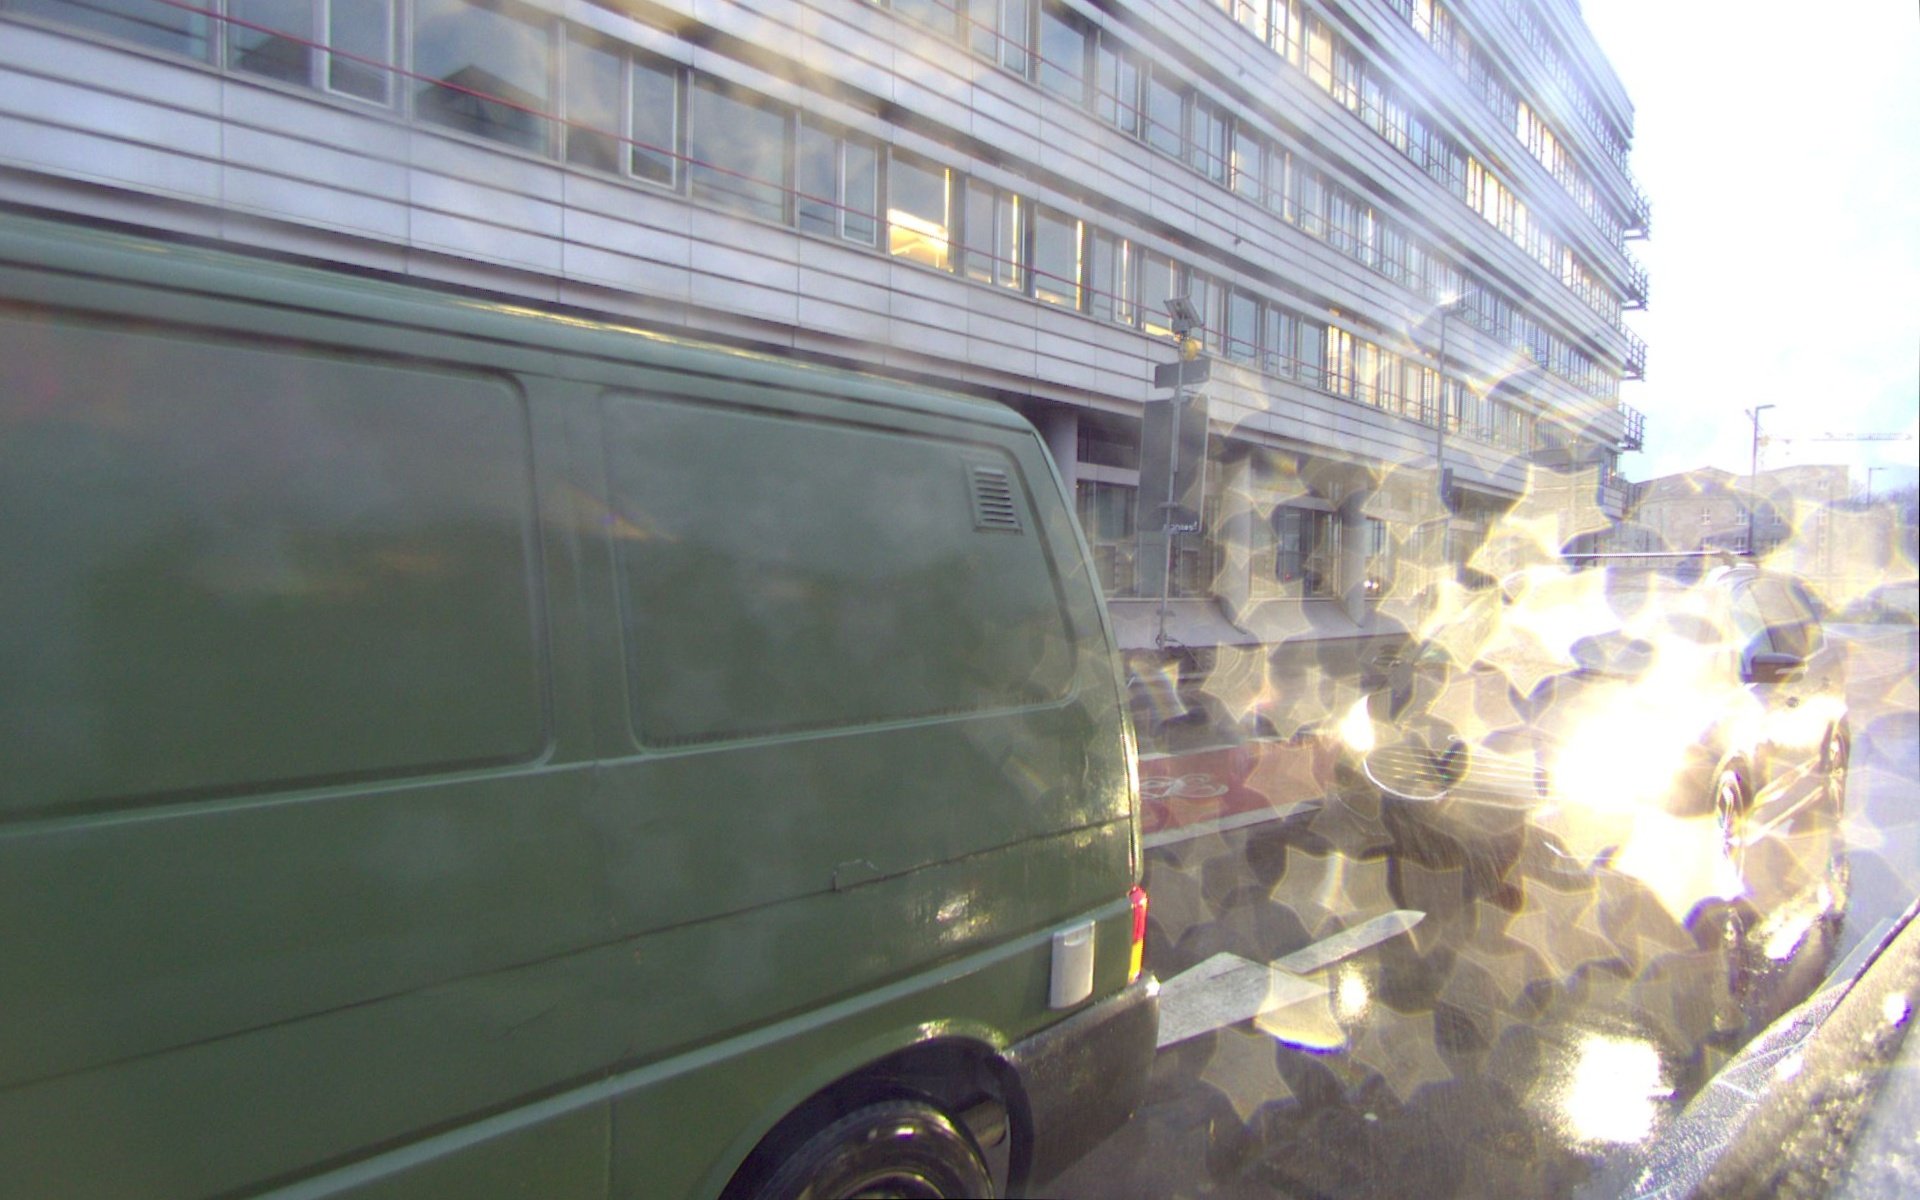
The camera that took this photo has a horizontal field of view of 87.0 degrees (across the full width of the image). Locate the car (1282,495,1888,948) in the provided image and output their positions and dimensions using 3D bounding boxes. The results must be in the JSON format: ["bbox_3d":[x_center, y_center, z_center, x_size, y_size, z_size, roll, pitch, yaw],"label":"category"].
[{"bbox_3d":[4.143,0.483,6.350,4.606,1.842,1.908,0,0,-40],"label":"car"}]

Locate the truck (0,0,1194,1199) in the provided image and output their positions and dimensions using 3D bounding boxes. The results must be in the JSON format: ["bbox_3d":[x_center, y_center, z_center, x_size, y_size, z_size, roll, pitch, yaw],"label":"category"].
[{"bbox_3d":[-1.837,0.414,1.314,4.536,1.941,1.907,0,0,-41],"label":"truck"}]

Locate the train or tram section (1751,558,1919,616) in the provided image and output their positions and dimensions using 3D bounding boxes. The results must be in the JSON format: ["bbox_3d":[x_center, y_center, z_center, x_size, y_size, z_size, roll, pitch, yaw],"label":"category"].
[{"bbox_3d":[81.547,-1.189,93.157,3.664,4.995,13.402,0,0,-28],"label":"train or tram section"}]

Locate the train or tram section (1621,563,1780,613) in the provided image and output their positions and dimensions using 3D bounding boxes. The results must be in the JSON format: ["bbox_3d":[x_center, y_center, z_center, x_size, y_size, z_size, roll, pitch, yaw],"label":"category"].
[{"bbox_3d":[76.438,-1.235,105.040,3.661,4.862,13.412,0,0,-22],"label":"train or tram section"}]
